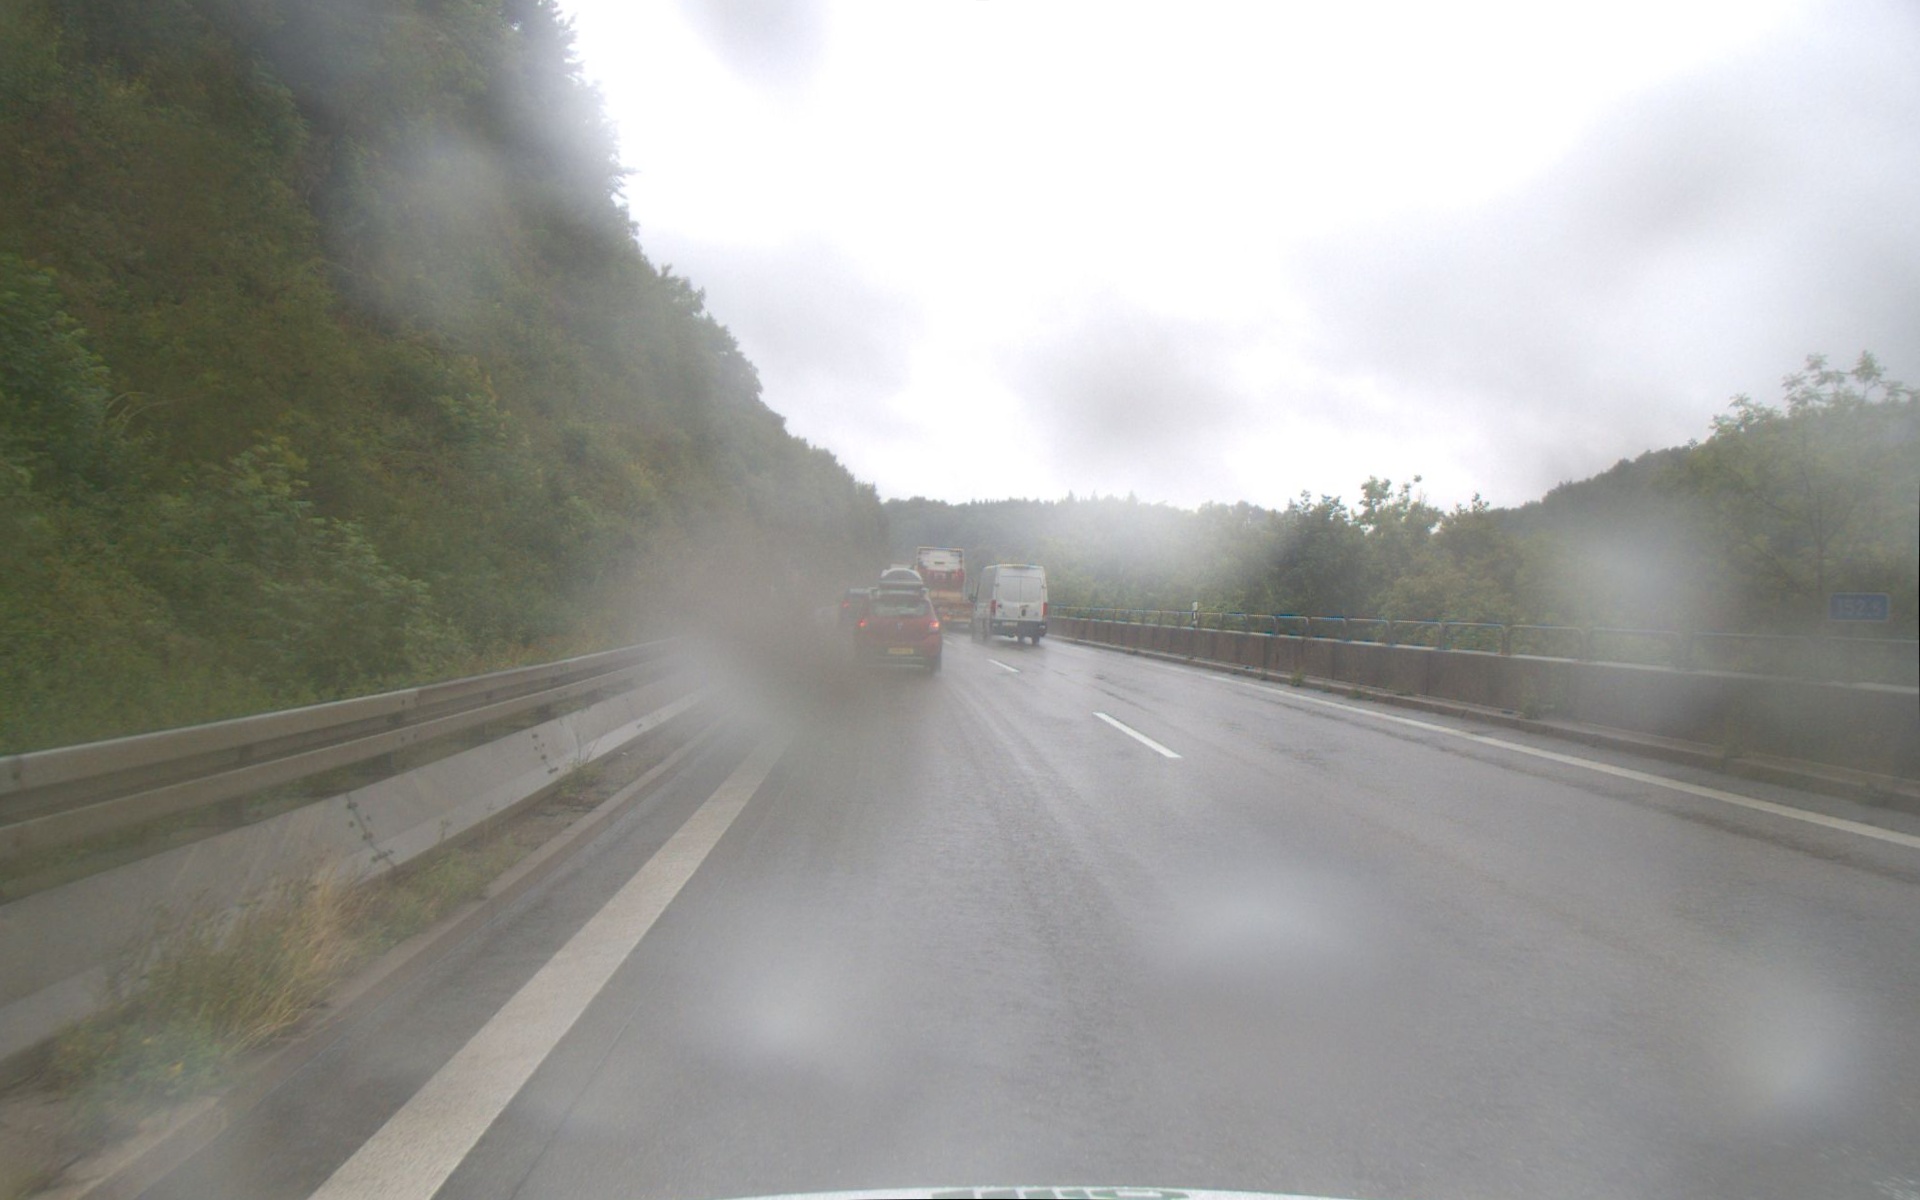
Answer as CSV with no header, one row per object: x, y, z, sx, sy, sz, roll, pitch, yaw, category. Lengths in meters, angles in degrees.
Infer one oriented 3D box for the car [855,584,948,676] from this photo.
-1.220,0.574,33.080,1.723,1.714,3.997,1,0,-4,car

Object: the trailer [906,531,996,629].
-0.606,-0.873,78.707,3.155,4.068,13.511,3,0,-4,trailer

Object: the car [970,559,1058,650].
1.787,0.153,58.094,2.163,2.842,7.376,4,0,-4,car

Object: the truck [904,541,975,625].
-1.108,-0.869,85.715,3.156,4.047,5.434,3,0,-4,truck

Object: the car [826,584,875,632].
-4.144,0.293,63.157,1.786,1.726,3.998,1,0,-3,car

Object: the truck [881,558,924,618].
-4.836,-0.950,137.642,3.159,4.764,8.292,1,-1,-4,truck
